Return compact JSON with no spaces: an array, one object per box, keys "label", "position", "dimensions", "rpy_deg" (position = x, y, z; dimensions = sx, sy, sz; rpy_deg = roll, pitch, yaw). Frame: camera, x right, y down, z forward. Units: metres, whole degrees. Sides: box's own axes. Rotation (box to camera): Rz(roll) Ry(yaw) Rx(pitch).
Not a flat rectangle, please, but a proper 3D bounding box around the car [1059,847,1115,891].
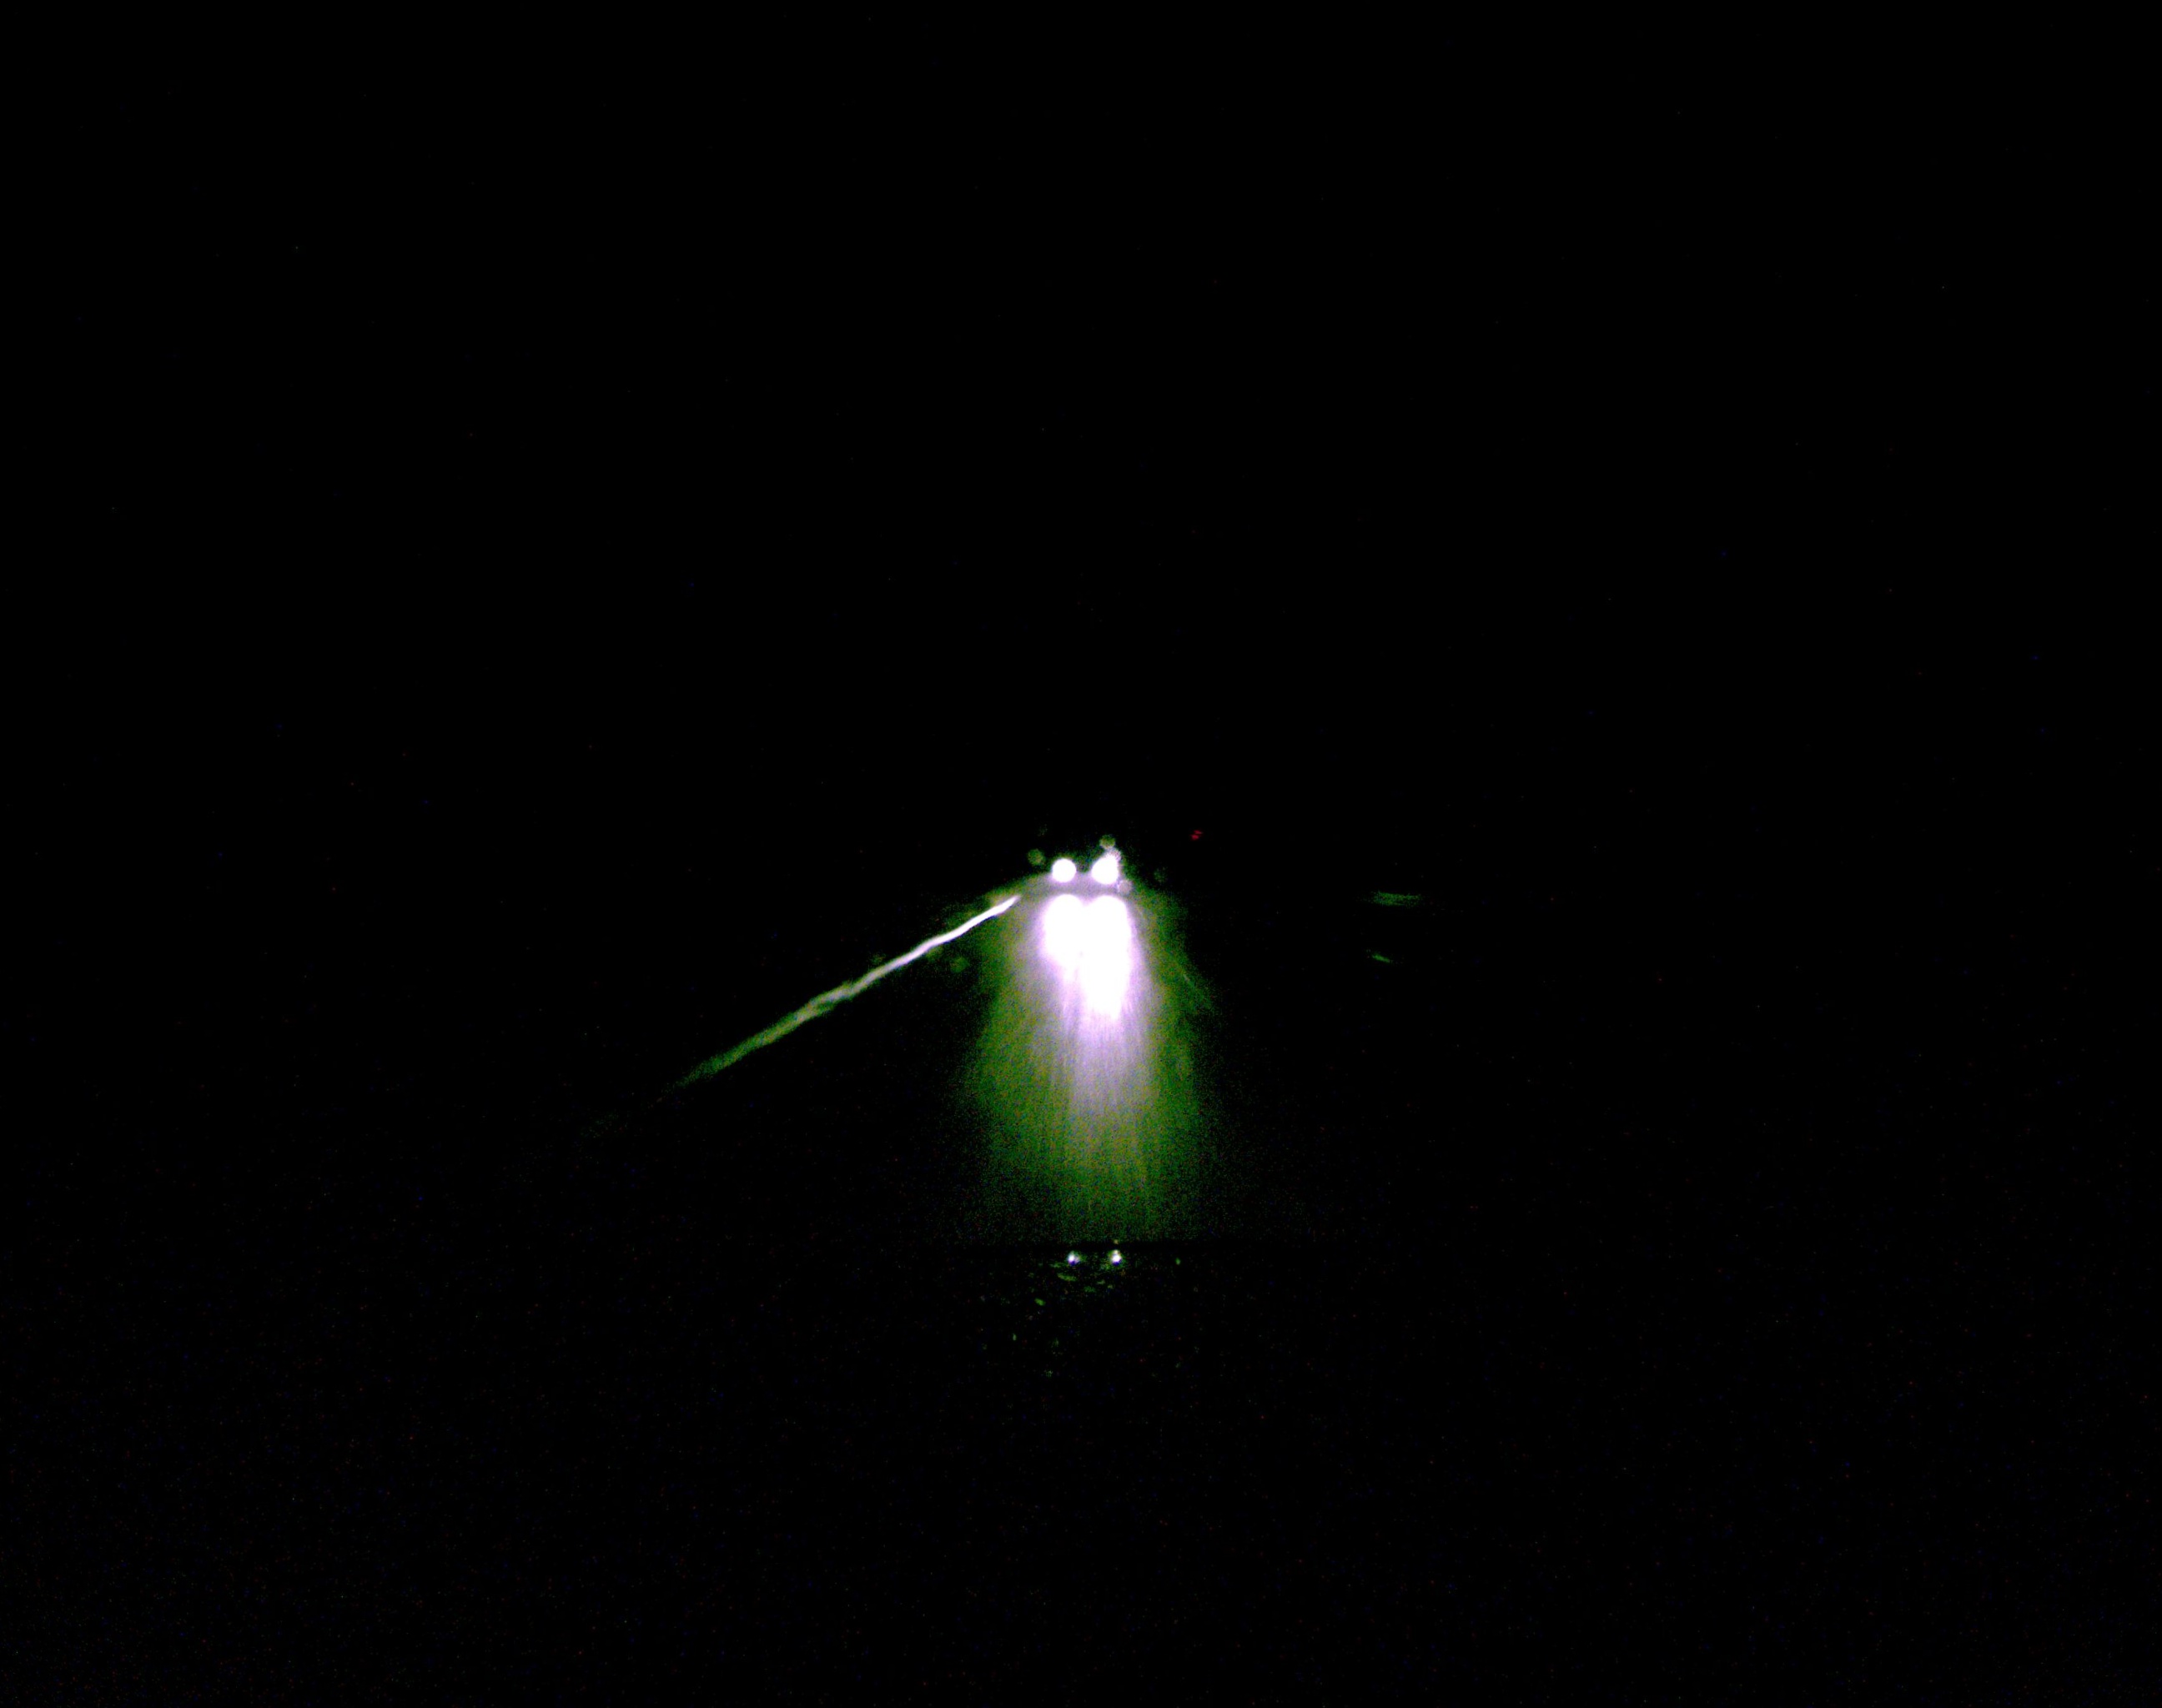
[{"label":"car","position":[0.313,0.539,30.001],"dimensions":[1.792,1.594,4.001],"rpy_deg":[0,1,6]}]
